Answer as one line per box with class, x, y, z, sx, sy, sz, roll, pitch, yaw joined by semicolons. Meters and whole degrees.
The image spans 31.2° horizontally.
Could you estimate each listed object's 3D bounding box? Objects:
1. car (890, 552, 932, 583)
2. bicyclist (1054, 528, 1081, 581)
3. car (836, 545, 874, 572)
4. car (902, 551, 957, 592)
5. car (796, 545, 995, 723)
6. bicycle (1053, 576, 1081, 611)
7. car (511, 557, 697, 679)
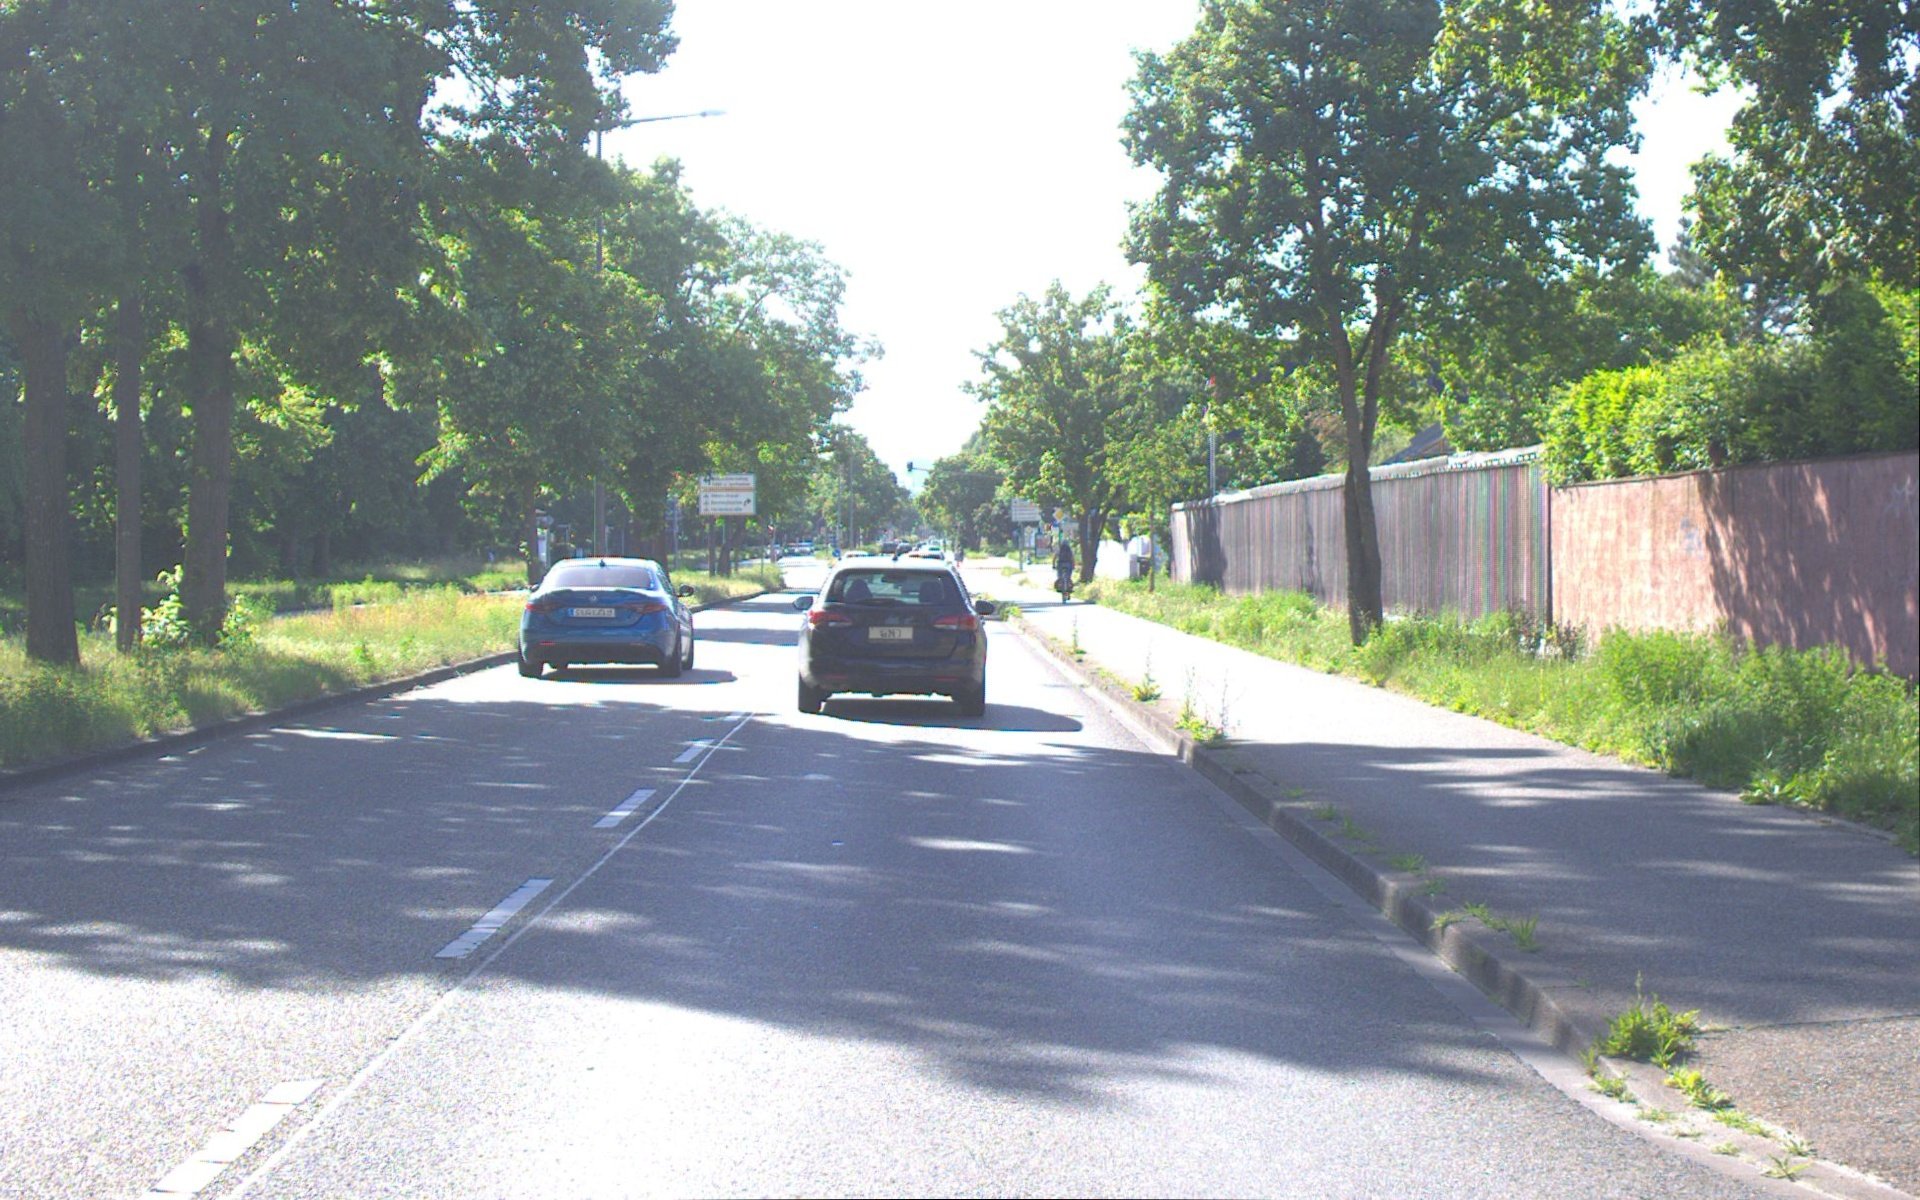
car;-2.411;-1.605;168.683;1.978;1.435;4.001;0;2;-2
bicyclist;2.848;-1.203;90.924;0.680;1.414;0.812;0;1;-1
car;-5.903;-2.351;193.383;1.978;1.435;4.001;0;2;-4
car;-1.163;-1.093;130.156;1.978;1.435;4.001;0;2;-2
car;-0.570;0.290;33.189;1.760;1.554;4.000;2;1;0
bicycle;2.816;-0.182;90.693;0.655;0.889;1.875;0;1;-1
car;-4.271;0.184;41.816;1.994;1.400;4.000;0;1;-2
